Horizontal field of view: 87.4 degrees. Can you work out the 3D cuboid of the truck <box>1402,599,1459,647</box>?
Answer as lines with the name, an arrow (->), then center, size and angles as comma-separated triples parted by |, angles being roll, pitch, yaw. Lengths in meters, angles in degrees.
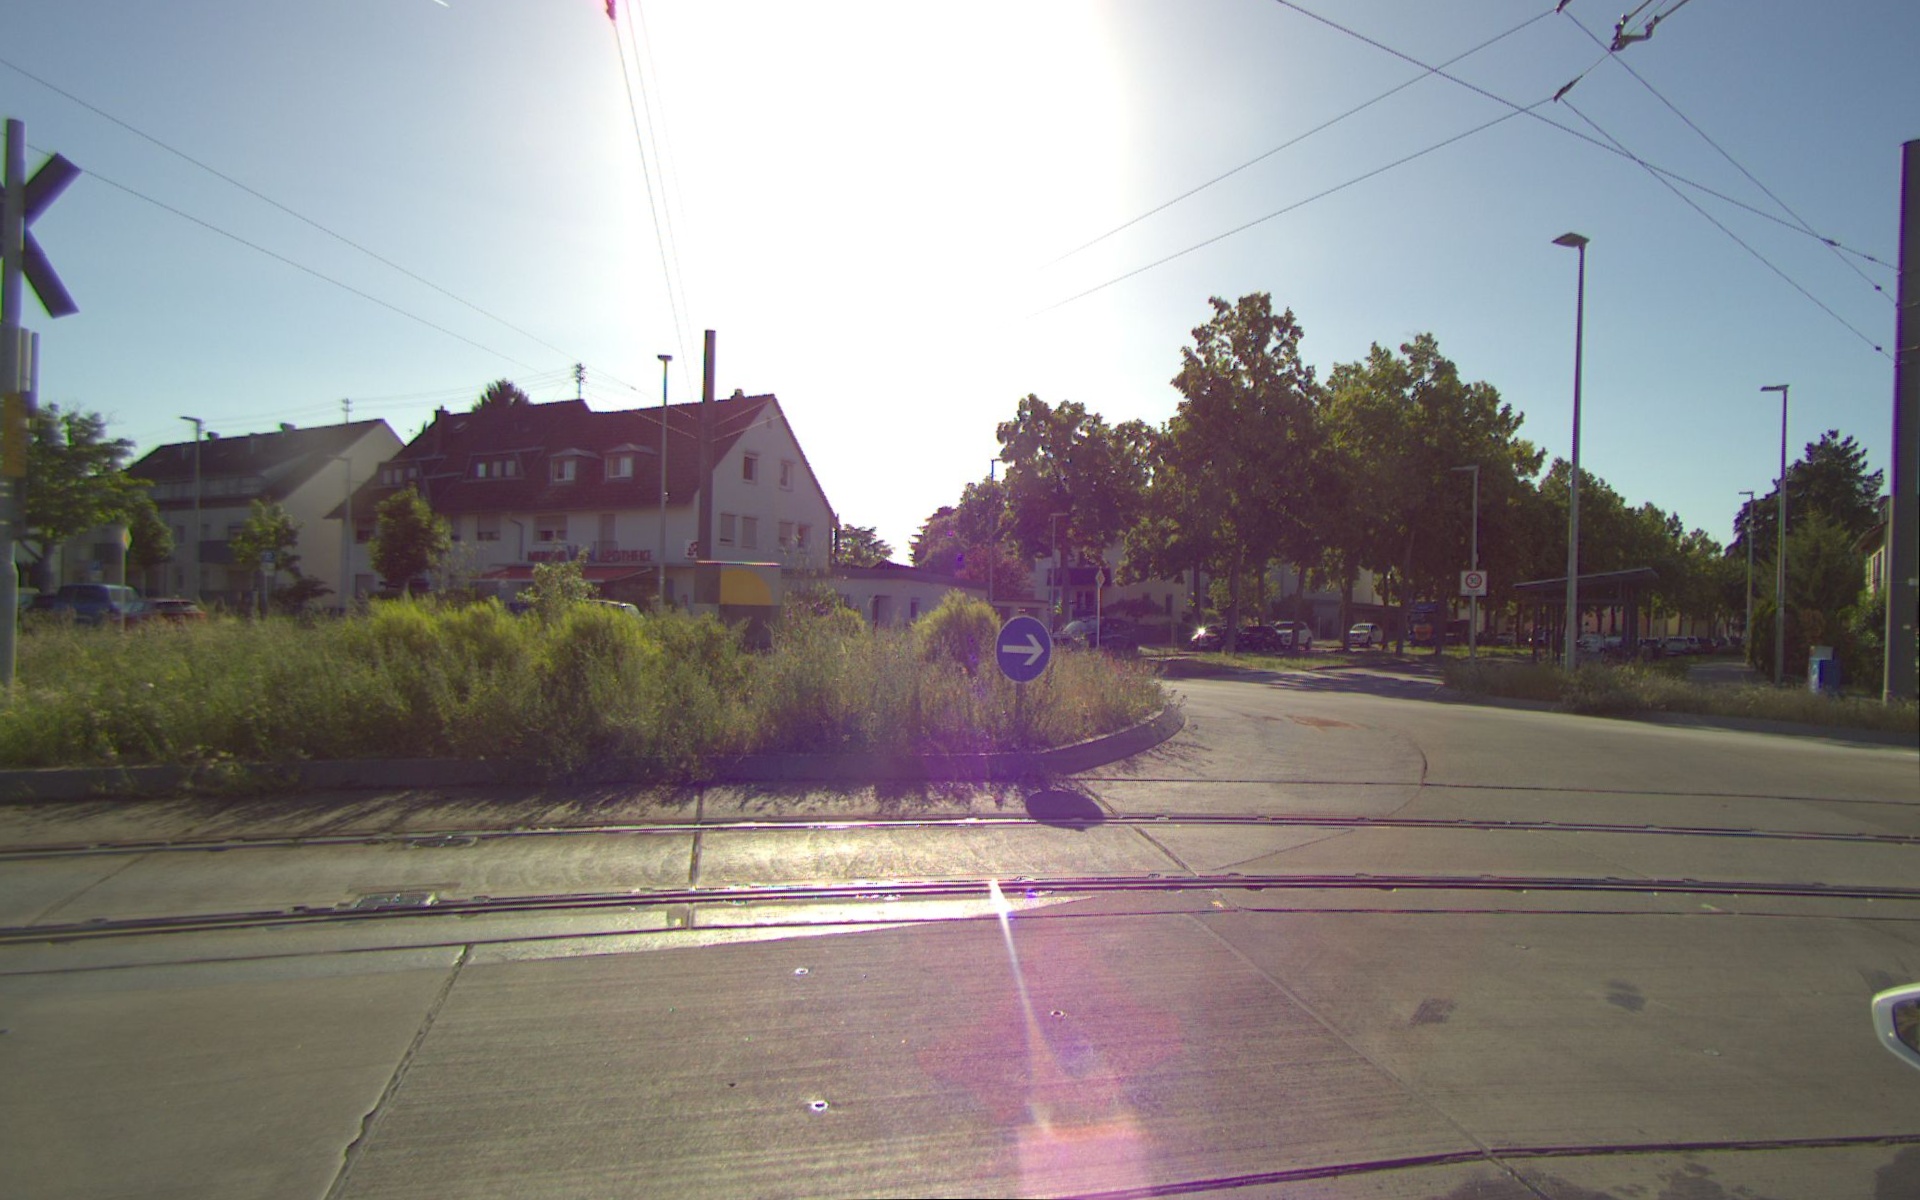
truck -> 42.413, 2.043, 90.376 | 3.029, 4.046, 7.980 | 3, 1, 36

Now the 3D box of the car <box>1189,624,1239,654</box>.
car -> 14.029, 2.108, 55.350 | 1.772, 1.484, 3.796 | 3, 0, 29

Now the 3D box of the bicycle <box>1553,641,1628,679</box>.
bicycle -> 19.964, 1.884, 31.820 | 1.946, 1.041, 0.694 | 3, 0, 34

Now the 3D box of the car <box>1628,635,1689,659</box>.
car -> 48.701, 3.242, 70.060 | 3.372, 1.554, 1.517 | 1, -1, 41

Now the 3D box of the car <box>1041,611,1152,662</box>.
car -> 4.814, 1.266, 34.938 | 1.808, 1.601, 4.422 | 3, 0, 38

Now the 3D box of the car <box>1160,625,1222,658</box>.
car -> 10.947, 1.946, 47.395 | 1.572, 1.382, 3.991 | 3, 0, 32

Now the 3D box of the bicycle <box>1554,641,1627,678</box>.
bicycle -> 20.463, 1.913, 32.627 | 1.946, 1.041, 0.687 | 3, 0, 34

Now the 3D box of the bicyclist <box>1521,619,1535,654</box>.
bicyclist -> 28.951, 1.845, 51.219 | 0.594, 1.736, 0.544 | 1, -4, 29

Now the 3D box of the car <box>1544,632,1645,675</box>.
car -> 27.189, 2.279, 43.064 | 3.472, 1.554, 1.571 | 3, 0, 38

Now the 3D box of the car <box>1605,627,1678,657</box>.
car -> 40.924, 2.491, 60.329 | 3.472, 1.554, 1.571 | 3, 0, 38

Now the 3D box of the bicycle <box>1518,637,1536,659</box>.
bicycle -> 28.923, 2.447, 51.264 | 0.754, 1.050, 1.532 | 2, -2, 29

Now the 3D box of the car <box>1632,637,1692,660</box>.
car -> 50.582, 3.498, 72.355 | 3.401, 1.413, 1.231 | 3, 0, 41

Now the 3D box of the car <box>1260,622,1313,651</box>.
car -> 20.843, 2.326, 64.035 | 1.967, 1.722, 4.204 | 3, 0, 36

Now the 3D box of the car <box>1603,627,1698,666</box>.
car -> 31.539, 2.100, 45.918 | 3.472, 1.554, 1.571 | 3, 0, 38

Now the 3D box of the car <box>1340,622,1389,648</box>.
car -> 31.005, 2.689, 76.846 | 1.970, 1.796, 5.036 | 3, 0, 40

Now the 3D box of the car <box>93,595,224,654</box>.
car -> -27.496, 0.813, 34.436 | 4.291, 1.721, 1.997 | 3, 0, 29

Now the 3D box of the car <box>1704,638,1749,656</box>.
car -> 76.259, 4.678, 99.975 | 3.471, 1.554, 1.572 | 3, 0, 37

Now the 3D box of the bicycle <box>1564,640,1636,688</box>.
bicycle -> 18.187, 1.806, 28.566 | 1.642, 1.224, 0.687 | 3, 0, 33

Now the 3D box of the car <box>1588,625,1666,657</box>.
car -> 37.186, 2.286, 56.017 | 3.472, 1.554, 1.449 | 3, 0, 38

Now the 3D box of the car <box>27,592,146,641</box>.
car -> -32.035, 0.597, 36.941 | 3.044, 1.641, 1.398 | 3, 0, -32

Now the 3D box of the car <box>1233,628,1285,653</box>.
car -> 17.926, 2.383, 60.112 | 1.934, 1.341, 3.991 | 3, 0, 32

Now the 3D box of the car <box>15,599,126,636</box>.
car -> -35.249, 0.709, 39.885 | 3.133, 1.315, 1.369 | 3, 0, -36

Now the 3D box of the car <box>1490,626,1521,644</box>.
car -> 57.113, 3.691, 105.158 | 1.970, 1.722, 4.198 | 3, 0, 41

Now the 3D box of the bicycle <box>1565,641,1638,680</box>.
bicycle -> 19.719, 1.844, 30.897 | 1.815, 1.041, 0.687 | 3, 0, 33

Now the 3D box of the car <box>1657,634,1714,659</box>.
car -> 53.348, 3.403, 73.858 | 3.316, 1.554, 1.517 | 3, 0, 37

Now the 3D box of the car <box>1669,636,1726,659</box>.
car -> 56.728, 3.625, 77.301 | 3.434, 1.513, 1.547 | 3, 0, 37

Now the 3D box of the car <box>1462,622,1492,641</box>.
car -> 50.870, 3.059, 98.748 | 1.967, 1.722, 4.204 | 3, 0, 36

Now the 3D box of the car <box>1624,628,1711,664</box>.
car -> 35.440, 2.273, 50.365 | 3.472, 1.554, 1.571 | 3, 0, 38

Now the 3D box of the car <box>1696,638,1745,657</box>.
car -> 69.480, 4.322, 91.824 | 3.471, 1.554, 1.572 | 3, 0, 37

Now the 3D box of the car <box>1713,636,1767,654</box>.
car -> 64.527, 3.724, 83.159 | 3.471, 1.296, 1.572 | 3, 0, 37

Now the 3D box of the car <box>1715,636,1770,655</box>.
car -> 64.690, 3.740, 83.049 | 3.471, 1.313, 1.572 | 3, 0, 37

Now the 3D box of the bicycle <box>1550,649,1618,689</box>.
bicycle -> 18.543, 2.038, 29.870 | 1.666, 1.041, 0.598 | 3, 0, 34
